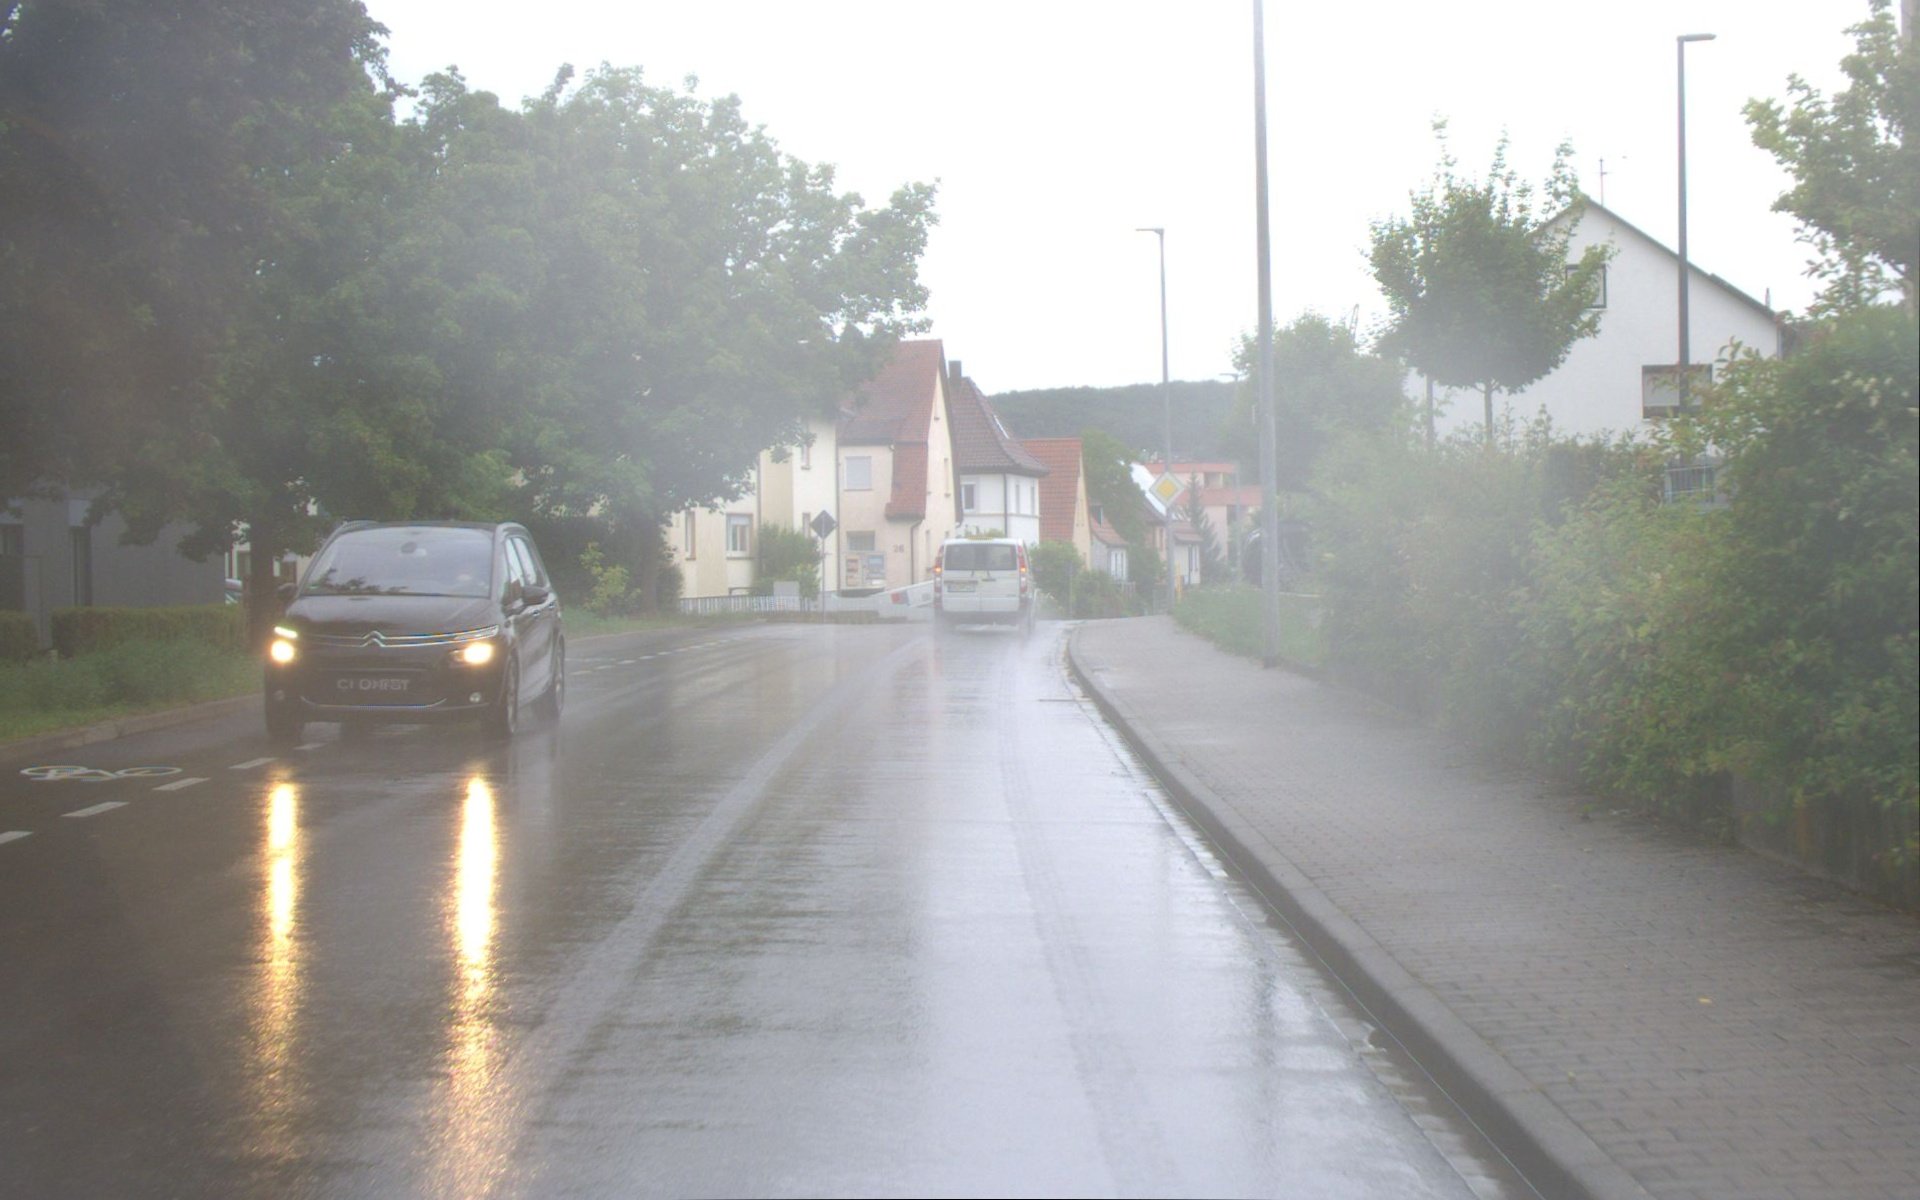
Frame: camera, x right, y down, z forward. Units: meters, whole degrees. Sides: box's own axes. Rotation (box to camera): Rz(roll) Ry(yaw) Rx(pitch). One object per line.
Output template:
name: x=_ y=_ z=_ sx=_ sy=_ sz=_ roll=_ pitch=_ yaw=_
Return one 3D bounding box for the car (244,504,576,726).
car: x=-4.172 y=0.047 z=26.751 sx=1.850 sy=1.549 sz=4.502 roll=0 pitch=2 yaw=0

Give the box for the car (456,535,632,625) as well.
car: x=-7.364 y=-0.351 z=60.995 sx=2.908 sy=1.450 sz=1.253 roll=-2 pitch=-2 yaw=1

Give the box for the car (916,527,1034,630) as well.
car: x=0.256 y=-0.454 z=67.262 sx=2.117 sy=1.881 sz=4.503 roll=0 pitch=2 yaw=-2

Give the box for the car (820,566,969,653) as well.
car: x=-2.258 y=0.318 z=119.057 sx=4.555 sy=2.006 sz=2.159 roll=-13 pitch=0 yaw=8
